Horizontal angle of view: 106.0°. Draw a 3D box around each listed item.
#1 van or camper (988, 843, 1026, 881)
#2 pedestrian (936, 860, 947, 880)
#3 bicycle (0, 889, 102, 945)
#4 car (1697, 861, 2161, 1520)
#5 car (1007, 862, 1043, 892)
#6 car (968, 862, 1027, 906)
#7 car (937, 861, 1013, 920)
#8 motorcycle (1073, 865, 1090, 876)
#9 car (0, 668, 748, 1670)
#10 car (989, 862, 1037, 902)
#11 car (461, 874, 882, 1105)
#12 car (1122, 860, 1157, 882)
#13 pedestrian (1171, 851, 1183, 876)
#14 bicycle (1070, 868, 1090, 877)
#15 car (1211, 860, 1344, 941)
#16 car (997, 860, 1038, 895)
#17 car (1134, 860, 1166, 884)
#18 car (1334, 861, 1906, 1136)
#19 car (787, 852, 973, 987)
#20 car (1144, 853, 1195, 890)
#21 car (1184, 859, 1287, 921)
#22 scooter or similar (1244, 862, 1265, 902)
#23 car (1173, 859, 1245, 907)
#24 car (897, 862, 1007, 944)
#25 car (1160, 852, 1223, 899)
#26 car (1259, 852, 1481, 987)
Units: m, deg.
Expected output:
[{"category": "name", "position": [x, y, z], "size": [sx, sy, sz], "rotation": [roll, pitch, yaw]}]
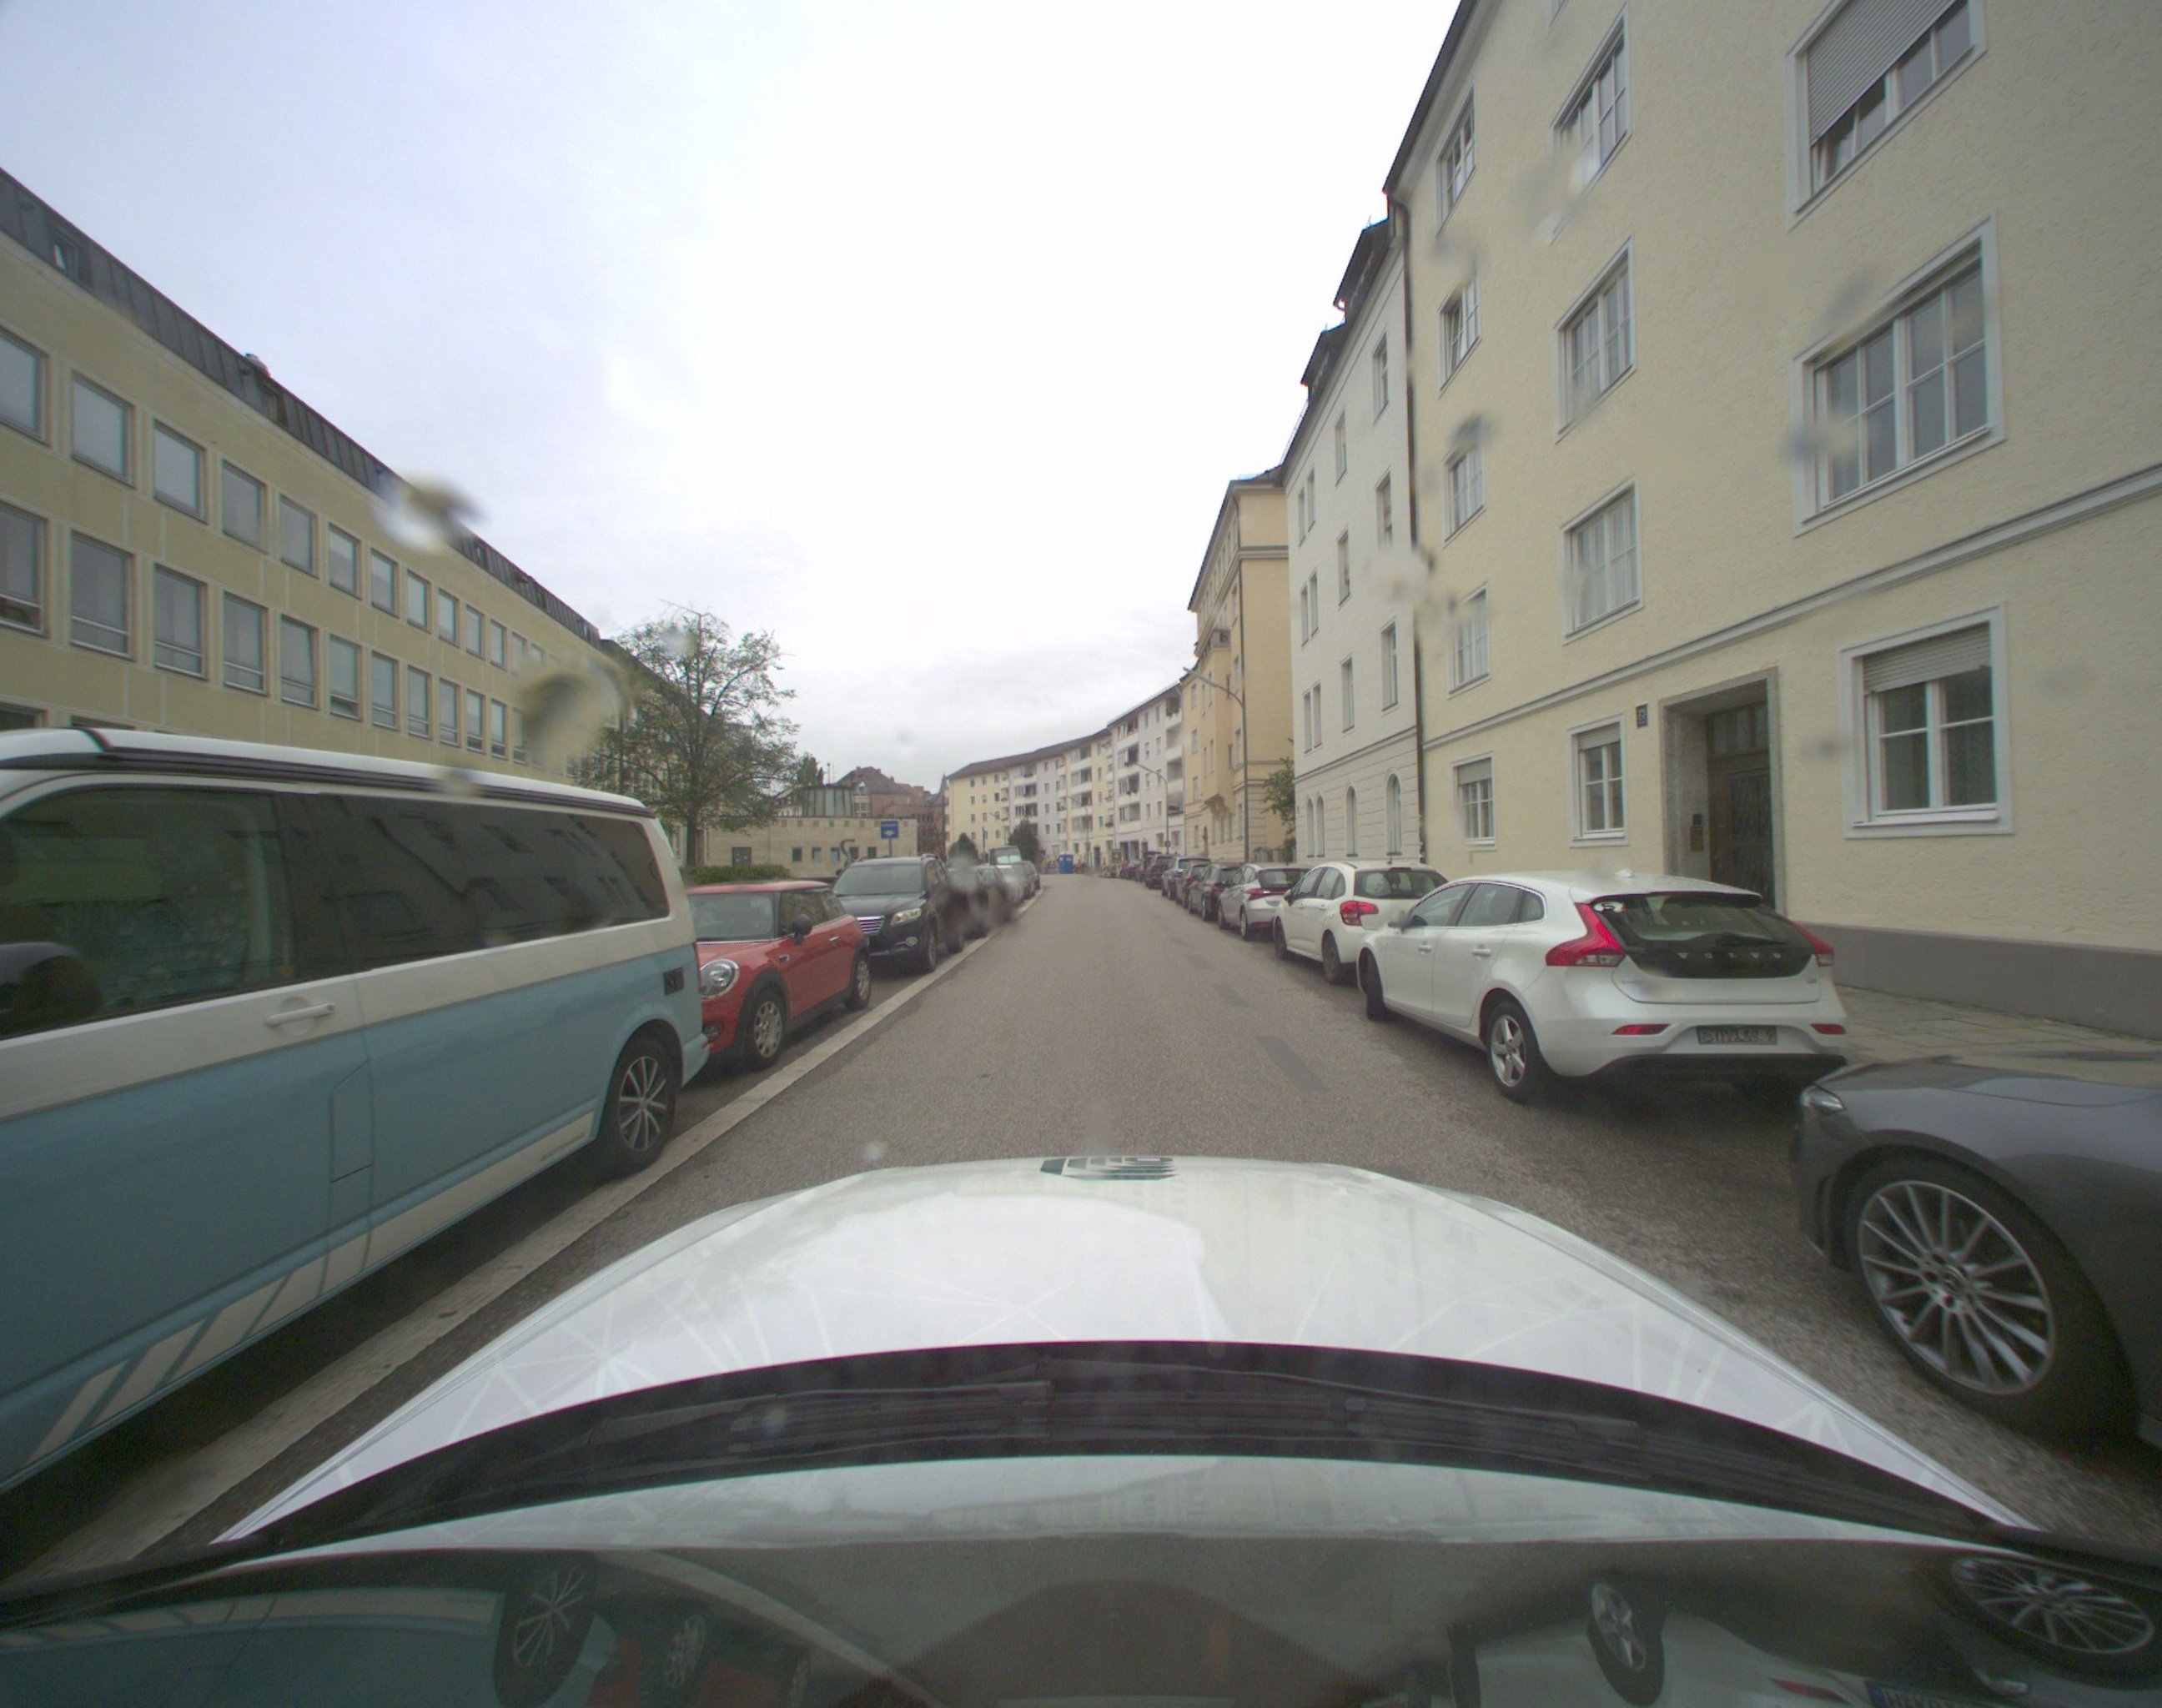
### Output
[{"category": "van or camper", "position": [-5.484, 0.560, 59.539], "size": [2.297, 2.581, 6.063], "rotation": [0, 0, -10]}, {"category": "pedestrian", "position": [-13.279, 1.504, 77.305], "size": [0.847, 1.866, 0.707], "rotation": [0, -1, -27]}, {"category": "bicycle", "position": [-17.980, 1.076, 14.057], "size": [1.407, 0.945, 0.413], "rotation": [0, -1, -12]}, {"category": "car", "position": [3.228, 0.728, 0.829], "size": [1.767, 1.430, 4.615], "rotation": [0, -1, 1]}, {"category": "car", "position": [-3.013, 1.200, 44.087], "size": [1.770, 1.465, 4.460], "rotation": [-3, 0, -4]}, {"category": "car", "position": [-2.914, 1.027, 29.115], "size": [1.736, 1.422, 4.292], "rotation": [-1, -1, -1]}, {"category": "car", "position": [-2.894, 0.953, 22.943], "size": [1.626, 1.494, 4.099], "rotation": [0, 0, -1]}, {"category": "motorcycle", "position": [0.035, 1.877, 90.622], "size": [0.936, 1.221, 2.488], "rotation": [0, -1, -23]}, {"category": "car", "position": [-3.129, 0.658, 2.861], "size": [1.910, 1.960, 4.958], "rotation": [-3, 0, -2]}, {"category": "car", "position": [-2.782, 1.125, 34.206], "size": [1.626, 1.494, 4.273], "rotation": [-4, -1, -1]}, {"category": "car", "position": [-3.247, 0.970, 7.402], "size": [1.798, 1.406, 3.710], "rotation": [-4, -1, 1]}, {"category": "car", "position": [4.112, 1.187, 58.203], "size": [1.904, 1.477, 4.941], "rotation": [0, -1, -3]}, {"category": "pedestrian", "position": [6.672, 0.652, 56.613], "size": [0.615, 1.690, 0.919], "rotation": [-4, -1, 1]}, {"category": "bicycle", "position": [-0.162, 2.217, 98.641], "size": [2.242, 1.069, 0.912], "rotation": [0, -1, -23]}, {"category": "car", "position": [3.854, 0.844, 16.671], "size": [1.719, 1.450, 4.186], "rotation": [0, 0, 0]}, {"category": "car", "position": [-2.992, 1.107, 38.830], "size": [1.626, 1.494, 3.602], "rotation": [-4, -1, -1]}, {"category": "car", "position": [4.361, 1.118, 51.931], "size": [1.626, 1.417, 3.677], "rotation": [0, -1, -2]}, {"category": "car", "position": [3.501, 0.779, 6.431], "size": [1.719, 1.430, 4.293], "rotation": [0, -1, 1]}, {"category": "car", "position": [-2.899, 0.871, 12.702], "size": [1.708, 1.689, 4.142], "rotation": [-3, -1, 1]}, {"category": "car", "position": [4.445, 0.865, 41.720], "size": [2.162, 1.739, 5.025], "rotation": [0, -1, 1]}, {"category": "car", "position": [3.918, 0.866, 21.437], "size": [1.869, 1.450, 4.678], "rotation": [0, -1, 1]}, {"category": "scooter or similar", "position": [5.482, 0.861, 25.762], "size": [0.425, 1.230, 1.048], "rotation": [-1, -1, 1]}, {"category": "car", "position": [4.083, 0.887, 26.593], "size": [1.821, 1.450, 4.085], "rotation": [0, -1, 1]}, {"category": "car", "position": [-2.713, 0.980, 17.874], "size": [1.625, 1.494, 3.820], "rotation": [-4, -1, 1]}, {"category": "car", "position": [4.181, 0.789, 31.457], "size": [1.840, 1.663, 4.497], "rotation": [0, -1, 0]}, {"category": "car", "position": [3.770, 0.765, 11.383], "size": [1.646, 1.544, 3.992], "rotation": [0, -1, -1]}]
